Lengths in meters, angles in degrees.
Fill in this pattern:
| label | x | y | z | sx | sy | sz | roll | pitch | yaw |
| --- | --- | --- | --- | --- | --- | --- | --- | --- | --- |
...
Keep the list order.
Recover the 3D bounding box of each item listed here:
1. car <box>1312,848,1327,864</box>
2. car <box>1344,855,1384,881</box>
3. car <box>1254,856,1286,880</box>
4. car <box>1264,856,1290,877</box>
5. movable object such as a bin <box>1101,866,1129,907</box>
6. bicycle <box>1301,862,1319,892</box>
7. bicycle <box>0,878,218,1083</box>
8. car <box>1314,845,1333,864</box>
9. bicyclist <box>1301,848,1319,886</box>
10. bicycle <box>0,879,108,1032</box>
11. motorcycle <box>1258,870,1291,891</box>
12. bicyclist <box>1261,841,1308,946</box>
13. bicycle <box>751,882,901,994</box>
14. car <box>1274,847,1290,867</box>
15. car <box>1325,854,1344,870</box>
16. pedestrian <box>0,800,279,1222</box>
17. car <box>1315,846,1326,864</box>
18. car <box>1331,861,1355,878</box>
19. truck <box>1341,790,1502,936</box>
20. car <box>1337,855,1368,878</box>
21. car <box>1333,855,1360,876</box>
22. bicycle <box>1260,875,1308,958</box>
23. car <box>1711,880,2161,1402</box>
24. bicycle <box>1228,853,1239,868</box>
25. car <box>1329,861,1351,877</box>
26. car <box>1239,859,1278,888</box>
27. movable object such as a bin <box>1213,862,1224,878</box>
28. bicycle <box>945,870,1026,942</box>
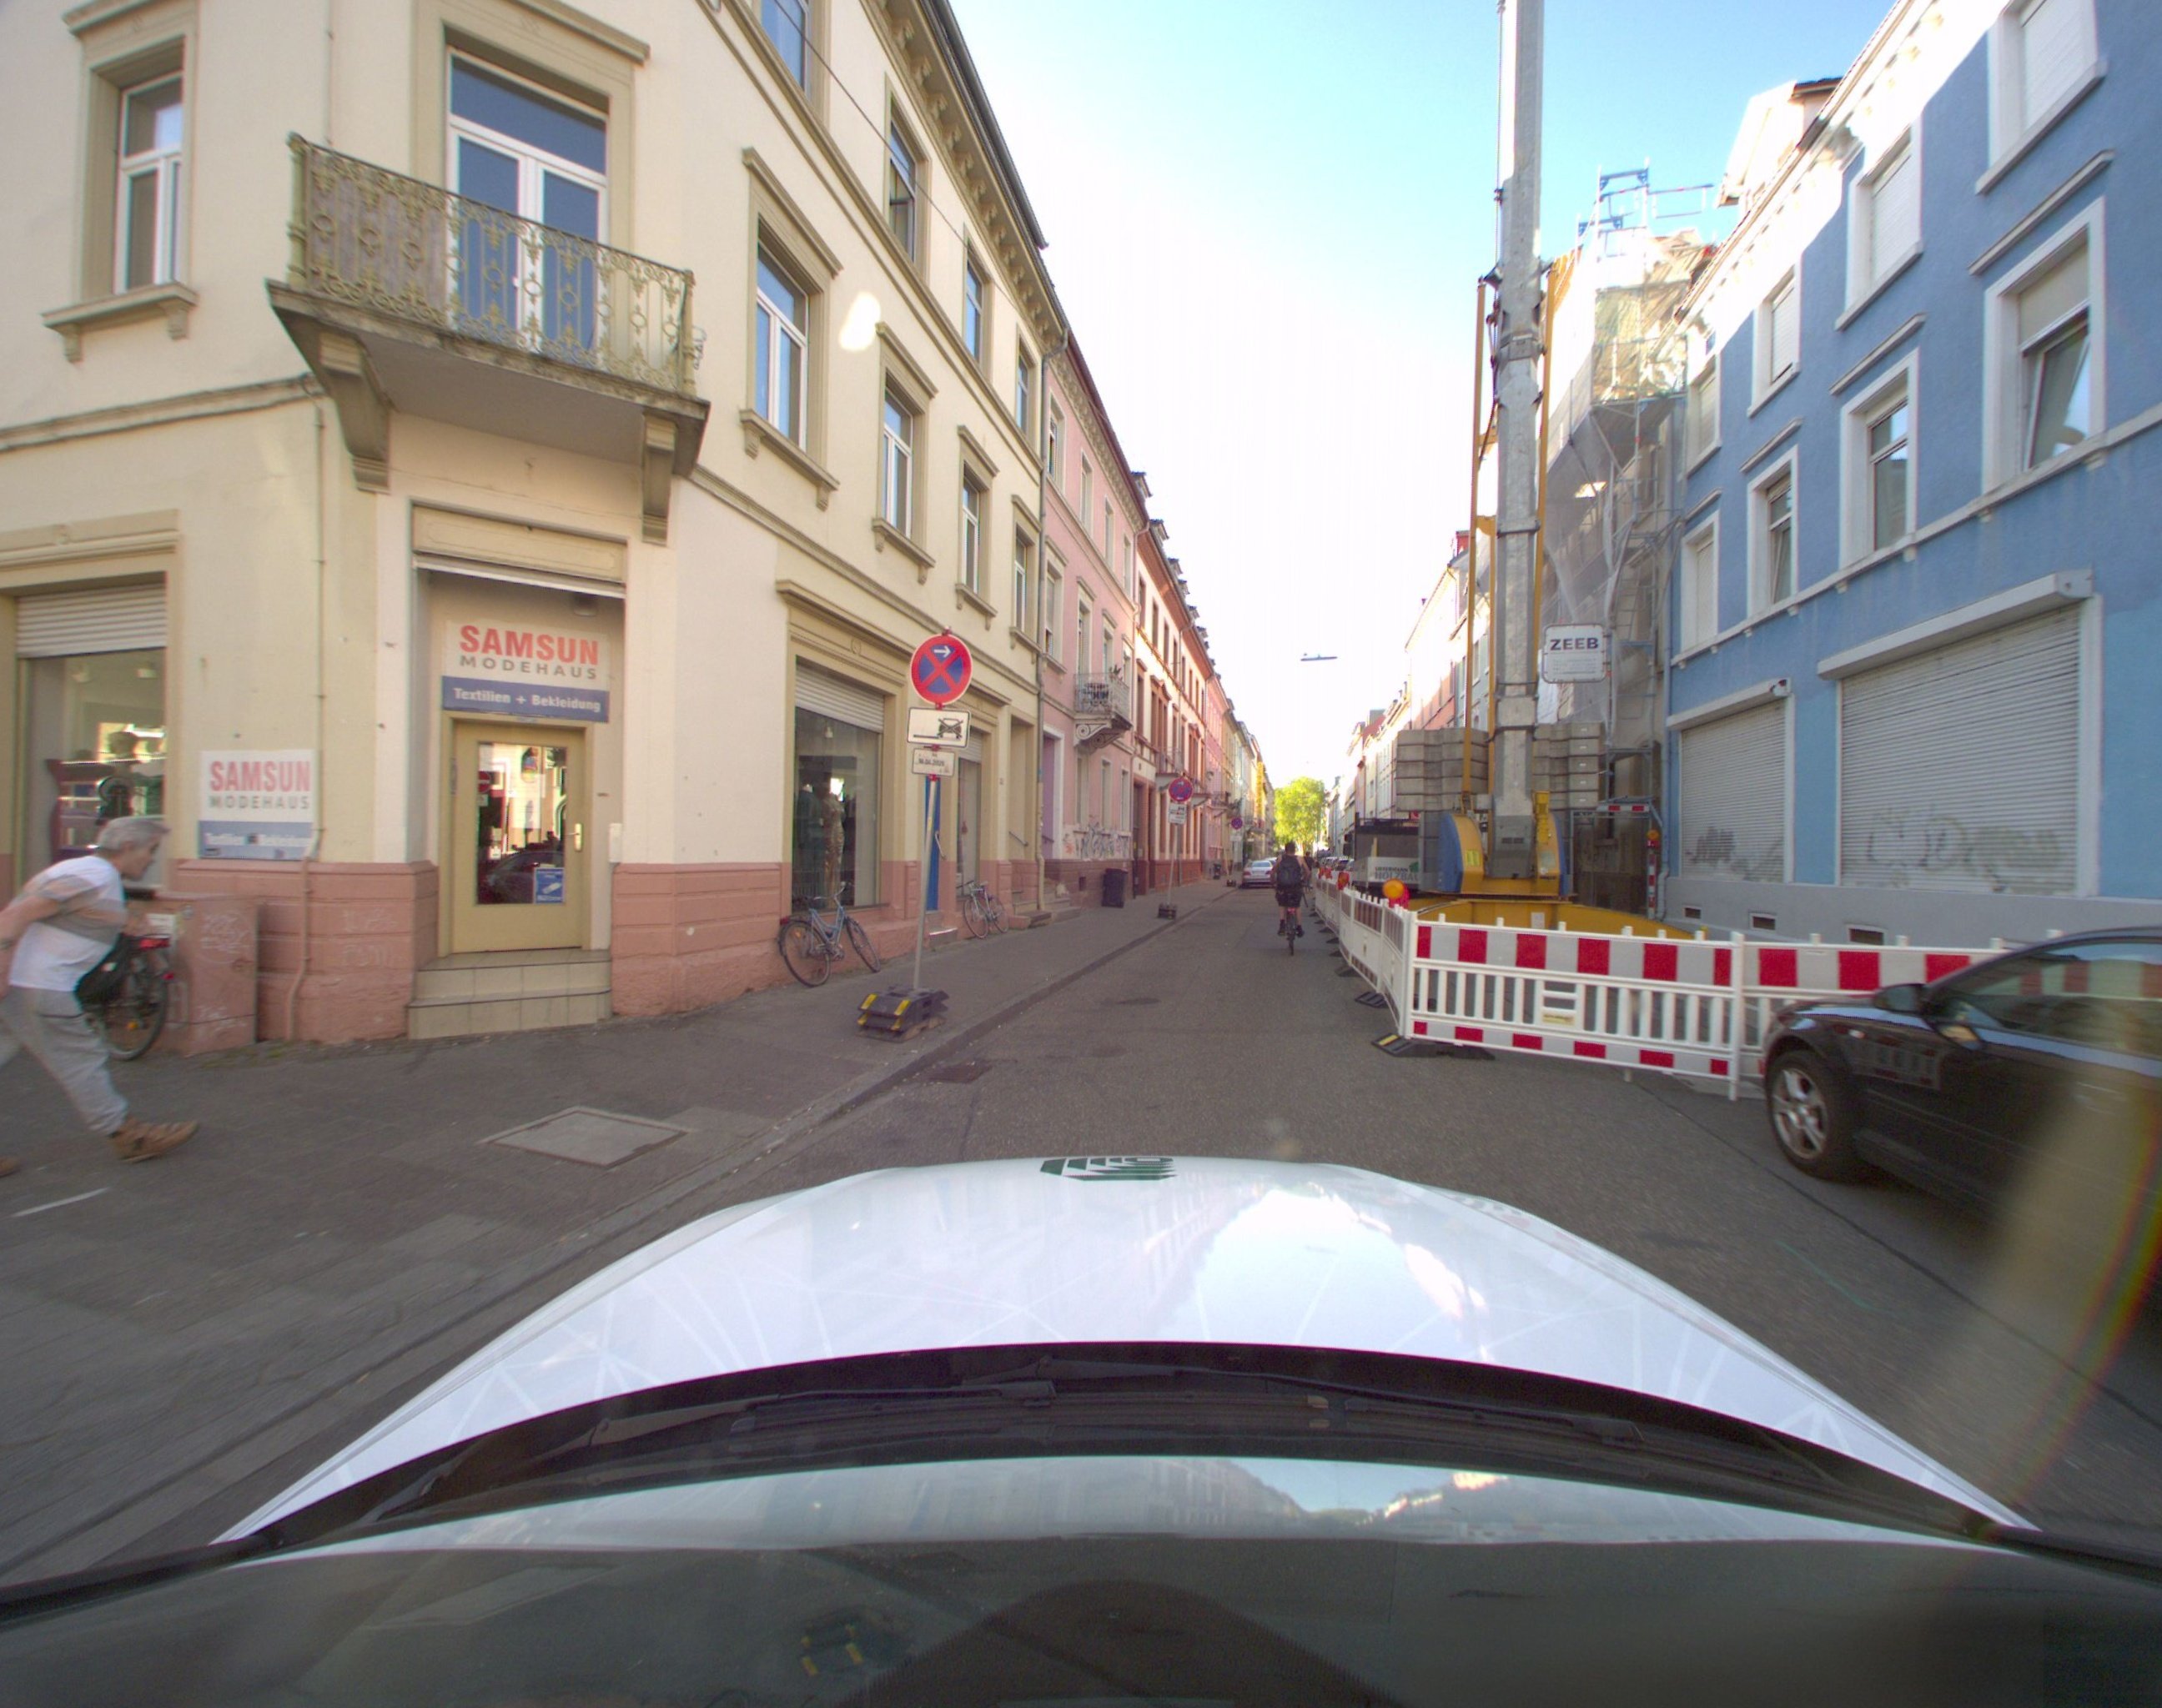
| label | x | y | z | sx | sy | sz | roll | pitch | yaw |
| --- | --- | --- | --- | --- | --- | --- | --- | --- | --- |
| car | 40.710 | 0.405 | 139.319 | 2.291 | 2.538 | 6.796 | -2 | -1 | 15 |
| car | 16.566 | 0.798 | 47.843 | 1.803 | 1.438 | 4.809 | -2 | -1 | 15 |
| car | 12.187 | 0.841 | 52.269 | 1.697 | 1.383 | 4.375 | 0 | 1 | 17 |
| car | 14.221 | 0.867 | 58.889 | 1.659 | 1.442 | 4.182 | -2 | -1 | 15 |
| movable object such as a bin | 0.918 | 0.856 | 21.766 | 0.601 | 1.035 | 0.598 | 2 | 0 | 13 |
| bicycle | 9.777 | 0.966 | 34.821 | 0.697 | 1.208 | 2.351 | -1 | 1 | 15 |
| bicycle | -6.810 | 0.776 | 5.513 | 1.905 | 1.148 | 0.615 | 2 | 0 | 21 |
| car | 34.089 | 0.104 | 114.560 | 2.291 | 2.538 | 6.796 | -2 | -1 | 15 |
| bicyclist | 9.770 | 0.533 | 34.795 | 0.697 | 1.605 | 0.816 | -1 | 1 | 14 |
| bicycle | -8.823 | 0.745 | 6.375 | 1.910 | 1.070 | 0.614 | 2 | 0 | 9 |
| motorcycle | 13.257 | 1.802 | 55.819 | 2.141 | 1.359 | 0.539 | -2 | 0 | -3 |
| bicyclist | 3.335 | 0.619 | 13.318 | 0.697 | 1.633 | 1.094 | 0 | -1 | 15 |
| bicycle | -2.733 | 0.855 | 8.961 | 0.599 | 1.022 | 1.825 | 4 | 0 | 15 |
| car | 25.789 | 0.399 | 104.739 | 1.896 | 2.497 | 4.180 | 0 | 0 | 13 |
| car | 25.834 | 0.824 | 83.086 | 1.608 | 1.550 | 4.016 | -2 | -1 | 15 |
| pedestrian | -4.565 | 0.628 | 3.828 | 0.688 | 1.701 | 0.869 | 5 | 3 | 15 |
| car | 54.374 | 0.258 | 184.916 | 2.291 | 3.768 | 6.796 | -2 | -1 | 15 |
| car | 21.999 | 1.264 | 68.477 | 1.698 | 1.383 | 4.016 | -2 | -1 | 15 |
| truck | 7.893 | 0.177 | 19.795 | 2.642 | 2.814 | 7.423 | 2 | 0 | 15 |
| car | 19.246 | 0.895 | 57.935 | 1.803 | 1.521 | 4.016 | -2 | -1 | 15 |
| car | 20.641 | 0.904 | 63.416 | 1.698 | 1.556 | 4.016 | -2 | -1 | 15 |
| bicycle | 3.383 | 0.967 | 13.458 | 0.697 | 1.208 | 2.351 | 0 | -1 | 15 |
| car | 4.139 | 0.887 | 2.720 | 1.759 | 1.434 | 4.049 | 1 | 0 | 14 |
| bicycle | 11.480 | 0.520 | 61.132 | 0.588 | 1.089 | 2.087 | 2 | 0 | 15 |
| car | 23.407 | 1.305 | 73.766 | 1.698 | 1.383 | 4.016 | -2 | -1 | 15 |
| car | 9.193 | 0.952 | 42.045 | 1.698 | 1.383 | 4.523 | -2 | -1 | 15 |
| movable object such as a bin | 8.166 | 0.939 | 48.374 | 0.539 | 0.944 | 0.489 | 2 | 0 | 16 |
| bicycle | -1.540 | 0.821 | 13.427 | 0.617 | 1.022 | 1.825 | 4 | 1 | 15 |
